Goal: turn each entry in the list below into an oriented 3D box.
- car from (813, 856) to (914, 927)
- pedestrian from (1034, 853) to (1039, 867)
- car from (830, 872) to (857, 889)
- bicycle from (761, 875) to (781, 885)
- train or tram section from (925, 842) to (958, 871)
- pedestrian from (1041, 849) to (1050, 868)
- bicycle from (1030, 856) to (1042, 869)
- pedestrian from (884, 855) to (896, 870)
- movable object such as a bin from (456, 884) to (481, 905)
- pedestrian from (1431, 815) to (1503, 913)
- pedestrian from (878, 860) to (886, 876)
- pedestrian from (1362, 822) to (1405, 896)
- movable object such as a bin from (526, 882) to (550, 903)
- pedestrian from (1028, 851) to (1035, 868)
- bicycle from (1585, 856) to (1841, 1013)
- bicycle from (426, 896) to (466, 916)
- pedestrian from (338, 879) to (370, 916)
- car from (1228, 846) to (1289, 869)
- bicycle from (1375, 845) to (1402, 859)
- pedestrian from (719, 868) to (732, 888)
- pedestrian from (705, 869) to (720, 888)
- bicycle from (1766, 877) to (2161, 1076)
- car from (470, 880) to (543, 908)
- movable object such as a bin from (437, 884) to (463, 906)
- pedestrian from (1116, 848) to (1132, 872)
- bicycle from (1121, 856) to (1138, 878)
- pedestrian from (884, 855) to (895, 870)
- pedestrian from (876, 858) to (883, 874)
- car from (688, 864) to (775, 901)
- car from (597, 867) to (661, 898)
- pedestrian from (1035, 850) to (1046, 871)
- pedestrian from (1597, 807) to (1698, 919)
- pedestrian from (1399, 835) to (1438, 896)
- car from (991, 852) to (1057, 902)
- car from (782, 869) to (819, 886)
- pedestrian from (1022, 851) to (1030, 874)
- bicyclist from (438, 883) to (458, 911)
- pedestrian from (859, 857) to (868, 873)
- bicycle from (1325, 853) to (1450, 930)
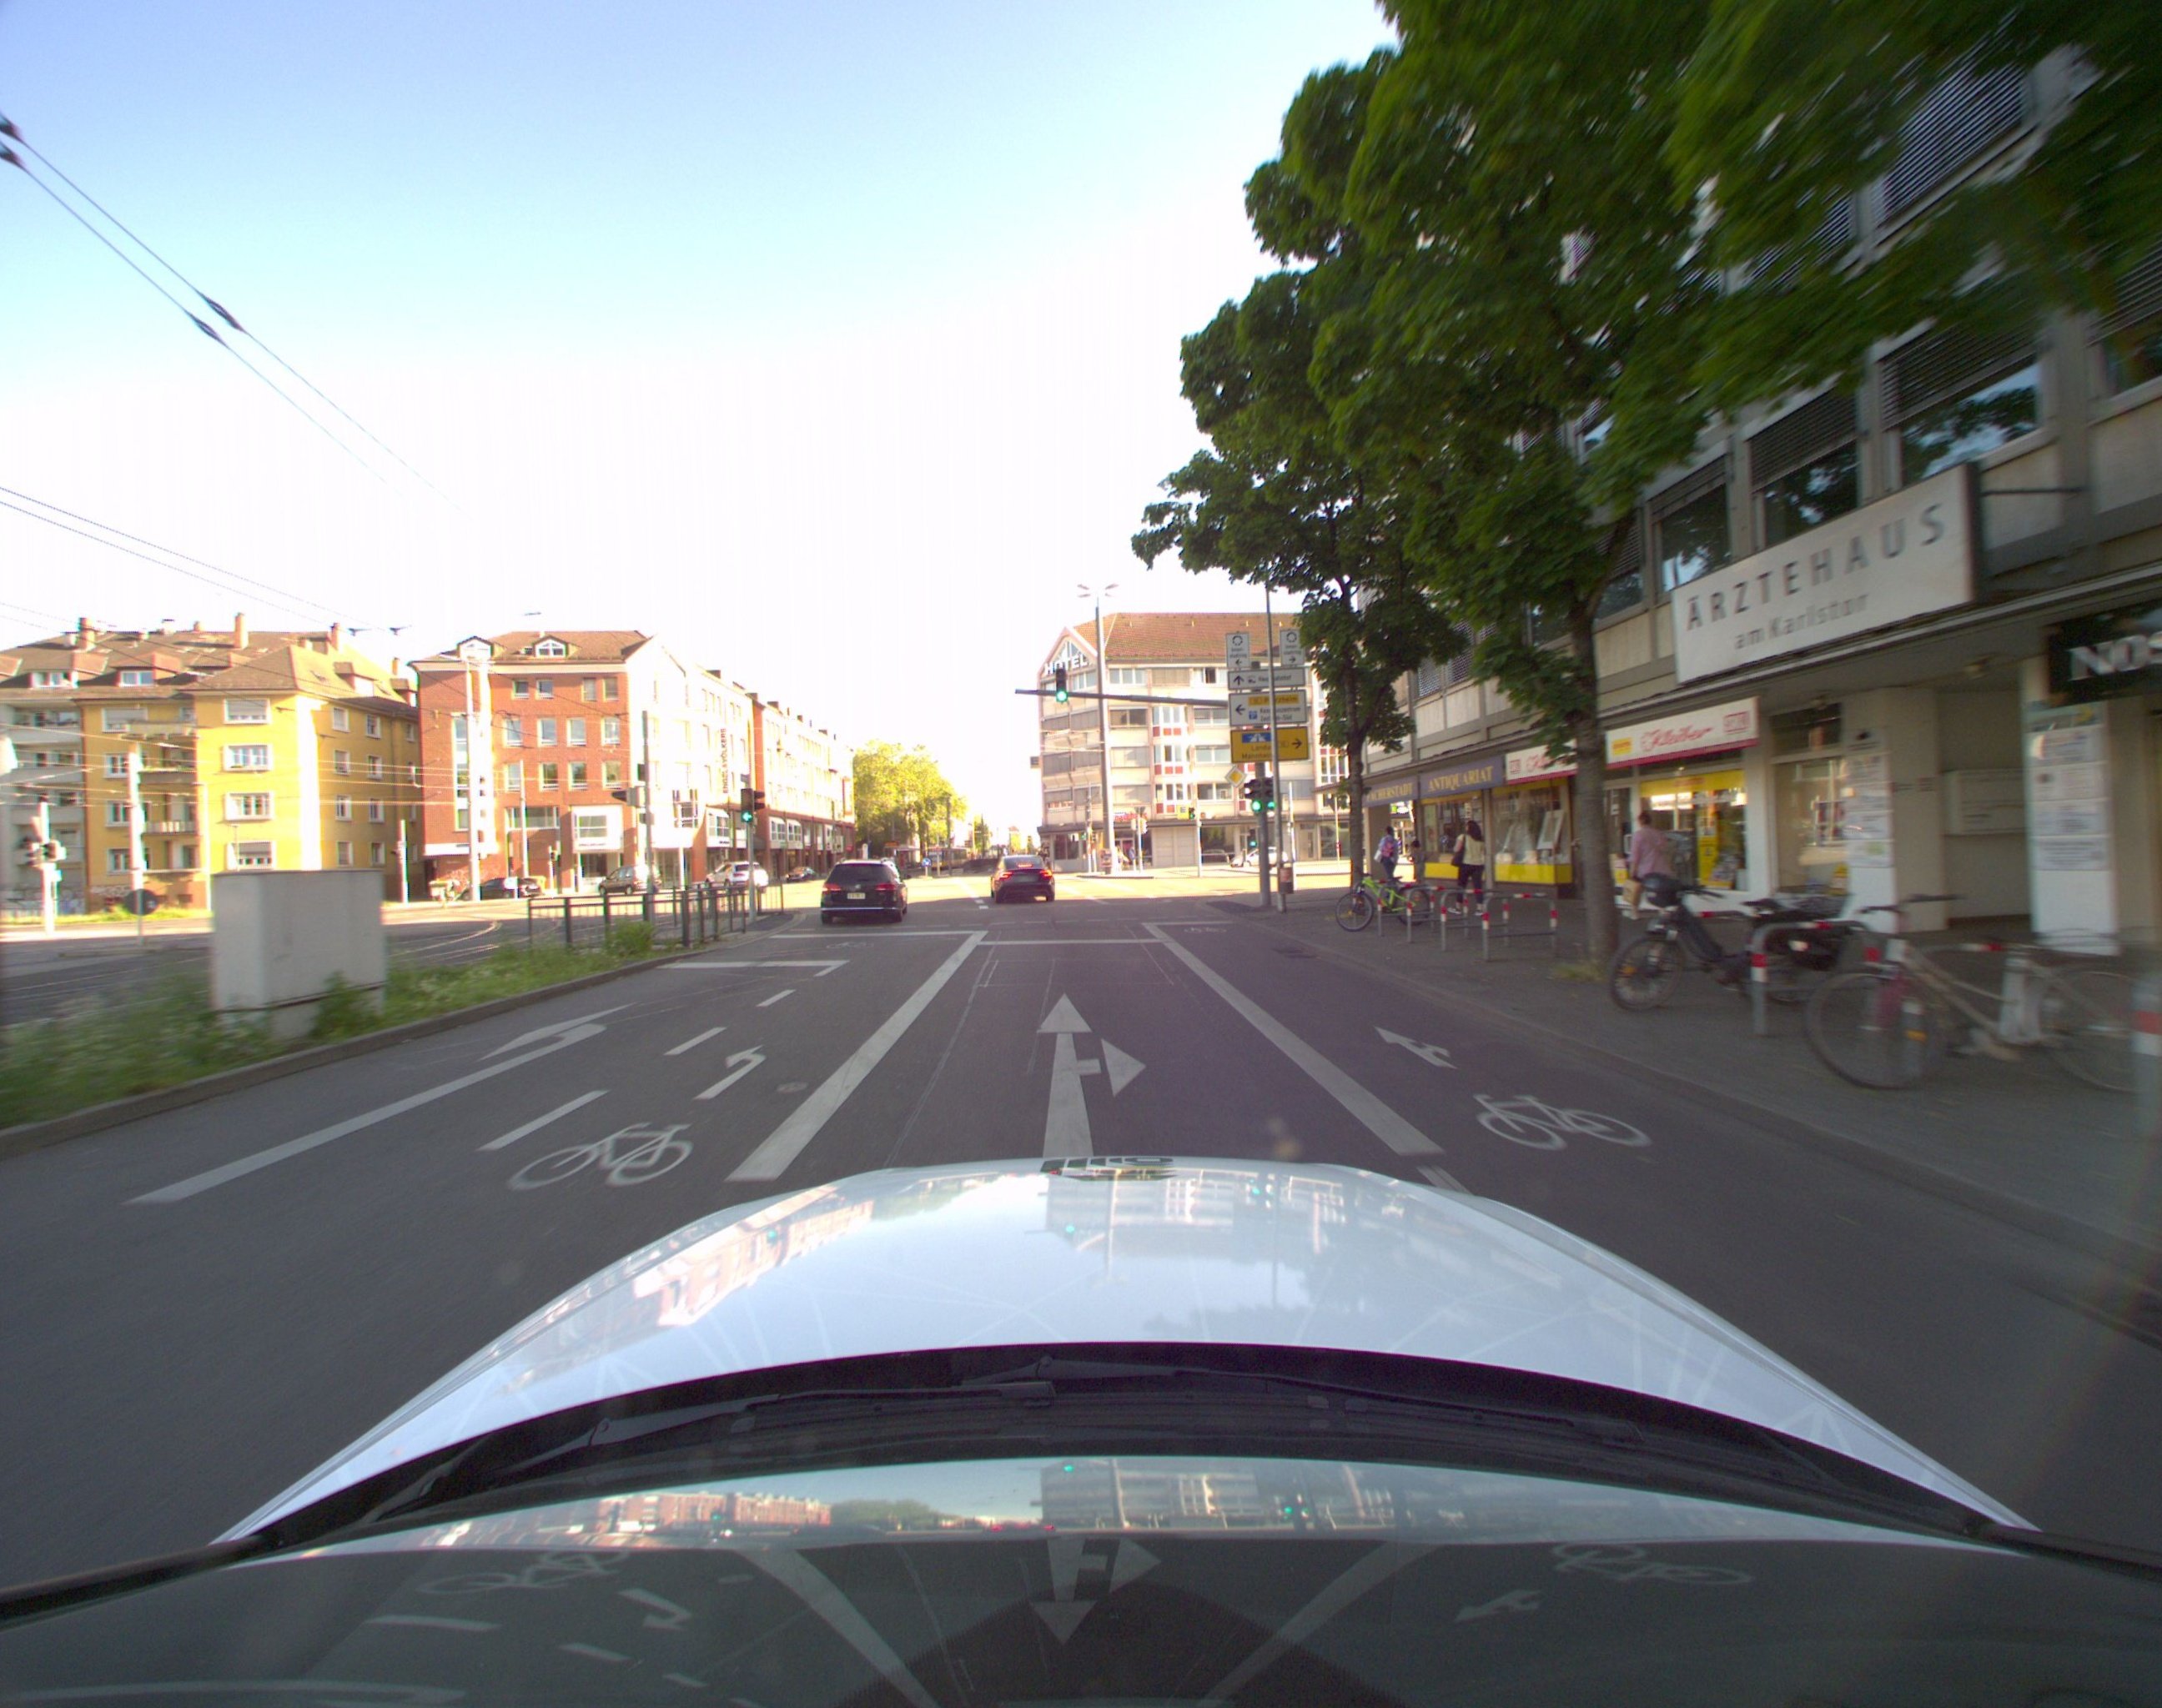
[{"bbox_3d":[-5.071,0.804,19.548,1.764,1.444,4.516,-1,0,-8],"label":"car"},{"bbox_3d":[-6.276,0.875,114.881,0.695,1.896,0.749,-2,-1,-2],"label":"pedestrian"},{"bbox_3d":[-23.754,2.618,81.597,1.814,1.544,3.786,-4,-1,-4],"label":"car"},{"bbox_3d":[-29.700,2.504,78.092,1.707,0.900,0.520,-2,-1,-4],"label":"bicycle"},{"bbox_3d":[-18.278,0.381,107.036,2.722,3.542,10.078,-2,-1,-2],"label":"train or tram section"},{"bbox_3d":[-3.398,0.424,77.262,0.688,1.688,0.668,-2,-1,-17],"label":"pedestrian"},{"bbox_3d":[-4.002,0.776,72.515,0.490,1.161,1.960,-2,-1,-19],"label":"bicycle"},{"bbox_3d":[-21.126,0.967,90.100,1.105,1.625,0.845,-2,-1,-11],"label":"pedestrian"},{"bbox_3d":[-43.648,2.891,58.050,0.996,1.437,1.093,-2,-1,-9],"label":"movable object such as a bin"},{"bbox_3d":[7.000,0.181,14.803,0.840,1.707,0.880,-2,-1,0],"label":"pedestrian"},{"bbox_3d":[-21.341,1.485,87.434,0.632,1.721,0.586,-2,-1,6],"label":"pedestrian"},{"bbox_3d":[7.257,0.118,19.572,0.836,1.721,0.883,-2,-1,15],"label":"pedestrian"},{"bbox_3d":[-39.011,2.787,58.530,0.996,1.437,1.093,-2,-1,-9],"label":"movable object such as a bin"},{"bbox_3d":[-4.545,0.478,74.997,0.472,1.563,0.542,-2,-1,-15],"label":"pedestrian"},{"bbox_3d":[5.206,0.641,6.740,1.806,1.151,0.435,-3,-1,-5],"label":"bicycle"},{"bbox_3d":[-41.802,3.444,53.646,2.032,1.223,0.627,-2,-1,-7],"label":"bicycle"},{"bbox_3d":[-34.726,2.073,38.896,0.694,1.710,0.928,-2,-1,-6],"label":"pedestrian"},{"bbox_3d":[12.541,0.239,57.765,3.835,1.432,1.800,-2,-3,-5],"label":"car"},{"bbox_3d":[24.622,-0.132,65.208,1.966,1.049,0.535,-2,-1,-9],"label":"bicycle"},{"bbox_3d":[-29.273,1.970,67.122,0.710,1.594,0.776,1,-1,-2],"label":"pedestrian"},{"bbox_3d":[-32.329,2.157,71.446,0.876,1.568,0.868,-2,-1,22],"label":"pedestrian"},{"bbox_3d":[5.125,0.695,4.747,1.758,1.057,0.458,-2,-1,5],"label":"bicycle"},{"bbox_3d":[-35.580,2.473,50.450,3.441,1.551,1.736,-2,-1,10],"label":"car"},{"bbox_3d":[-44.686,2.903,57.689,0.996,1.437,1.093,-2,-1,-9],"label":"movable object such as a bin"},{"bbox_3d":[2.901,0.383,55.017,0.780,1.576,0.863,-2,0,-15],"label":"pedestrian"},{"bbox_3d":[3.262,0.883,55.110,0.583,1.463,1.677,-3,0,-15],"label":"bicycle"},{"bbox_3d":[-20.959,0.931,89.146,0.999,1.625,0.845,-2,-1,-11],"label":"pedestrian"},{"bbox_3d":[-19.930,1.197,80.649,0.585,1.531,0.634,-2,-1,-17],"label":"pedestrian"},{"bbox_3d":[-17.220,1.391,40.215,3.451,1.635,1.851,-2,-1,12],"label":"car"},{"bbox_3d":[-25.814,1.637,46.482,3.734,1.618,1.588,-3,-1,32],"label":"car"},{"bbox_3d":[-3.602,0.573,72.455,0.912,1.754,0.839,-2,-1,0],"label":"pedestrian"},{"bbox_3d":[8.501,0.132,12.257,0.840,1.602,0.880,-2,-1,0],"label":"pedestrian"},{"bbox_3d":[8.102,0.285,19.580,0.642,1.422,0.621,-2,-1,1],"label":"pedestrian"},{"bbox_3d":[-1.901,0.686,26.064,1.790,1.451,3.927,-1,0,-9],"label":"car"},{"bbox_3d":[-25.944,2.159,75.518,1.810,1.454,3.979,-4,-1,2],"label":"car"},{"bbox_3d":[-4.446,0.684,65.938,0.625,1.782,0.916,-2,-1,-4],"label":"pedestrian"},{"bbox_3d":[-41.718,2.819,53.662,0.827,1.772,0.613,-2,-1,-7],"label":"bicyclist"},{"bbox_3d":[-20.938,1.060,78.407,0.630,1.564,0.588,-2,-1,16],"label":"pedestrian"},{"bbox_3d":[5.193,0.631,13.851,1.883,1.156,0.480,-4,-1,0],"label":"bicycle"}]
